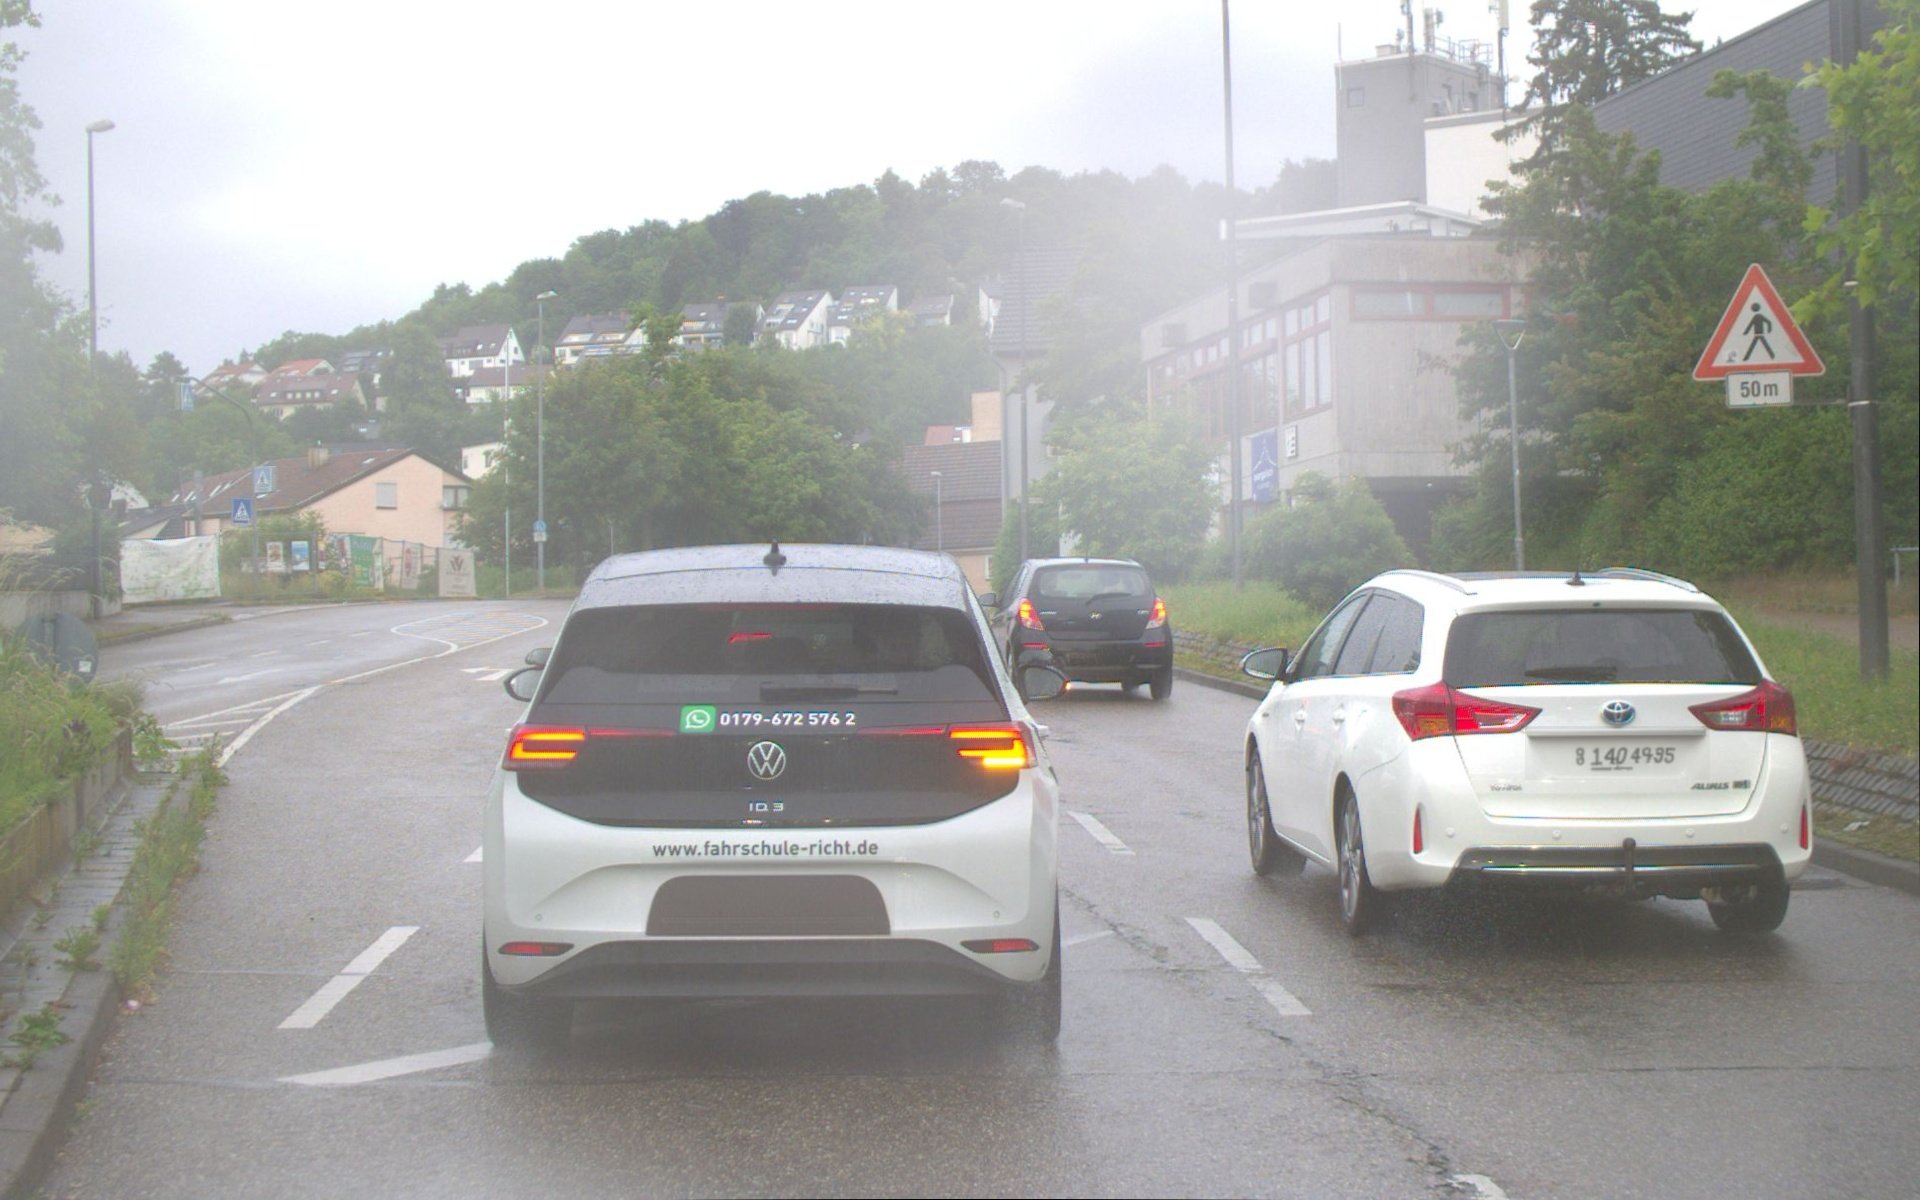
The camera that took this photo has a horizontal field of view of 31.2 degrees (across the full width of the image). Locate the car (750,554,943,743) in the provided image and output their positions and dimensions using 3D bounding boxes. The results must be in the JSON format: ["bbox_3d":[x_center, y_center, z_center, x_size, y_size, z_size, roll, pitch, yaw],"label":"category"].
[{"bbox_3d":[-1.021,0.367,30.214,1.567,1.525,4.001,-1,1,-2],"label":"car"}]

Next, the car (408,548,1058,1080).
[{"bbox_3d":[-0.639,0.607,11.767,1.828,1.495,4.168,0,0,0],"label":"car"}]

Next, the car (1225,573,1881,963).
[{"bbox_3d":[2.323,0.611,14.632,1.848,1.405,4.302,0,0,-3],"label":"car"}]

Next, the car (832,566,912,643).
[{"bbox_3d":[-2.316,0.119,91.303,1.993,2.007,4.000,0,0,0],"label":"car"}]

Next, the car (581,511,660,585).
[{"bbox_3d":[-9.687,-1.459,98.422,1.993,2.007,4.000,1,0,-2],"label":"car"}]

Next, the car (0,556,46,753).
[{"bbox_3d":[-9.044,0.487,27.994,1.993,1.656,4.598,-1,0,-1],"label":"car"}]

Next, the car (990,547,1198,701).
[{"bbox_3d":[1.363,0.244,36.422,1.993,1.448,3.771,-3,0,0],"label":"car"}]
